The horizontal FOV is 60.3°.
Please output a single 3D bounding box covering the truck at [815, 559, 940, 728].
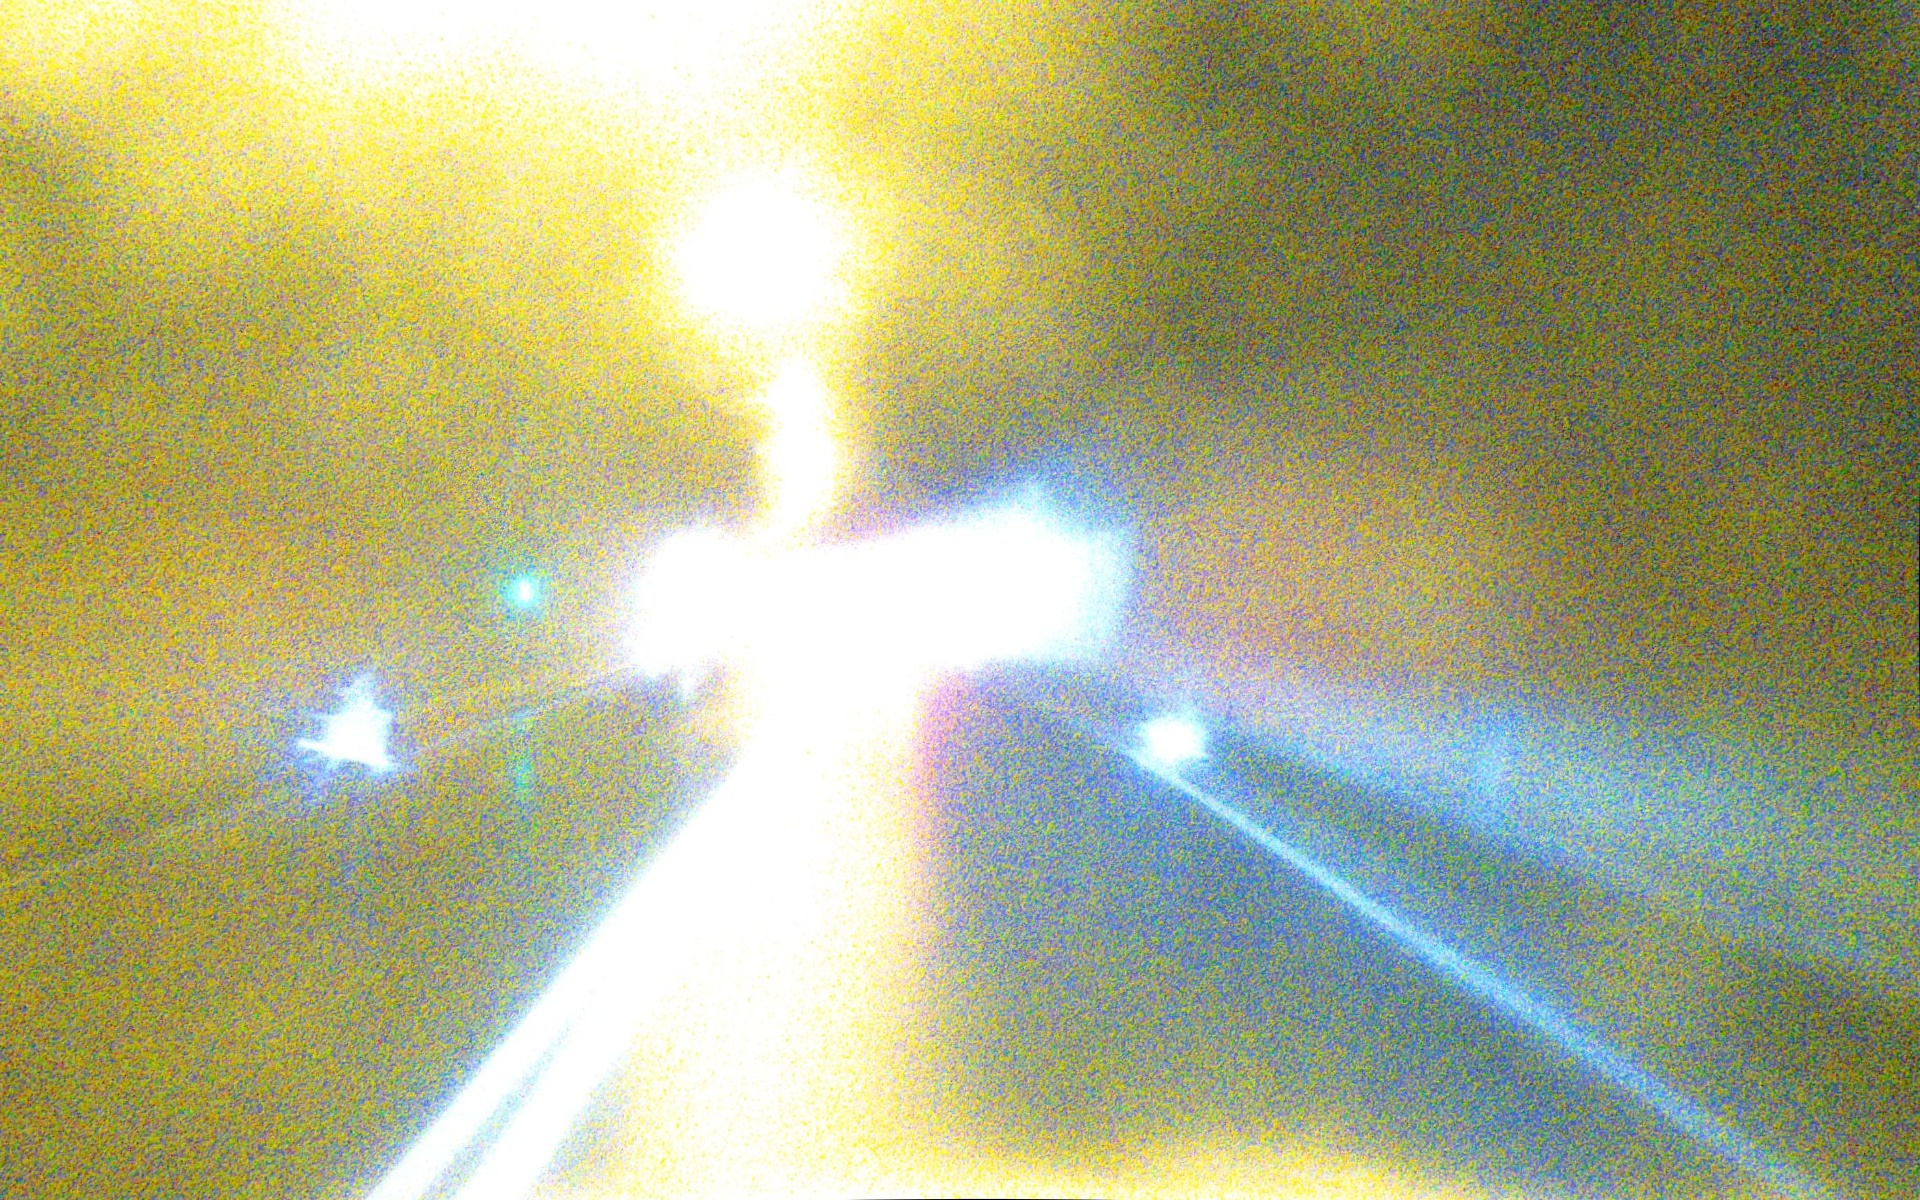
[{"bbox_3d":[-1.715,0.814,34.411,2.217,3.063,7.410,2,0,-3],"label":"truck"}]
